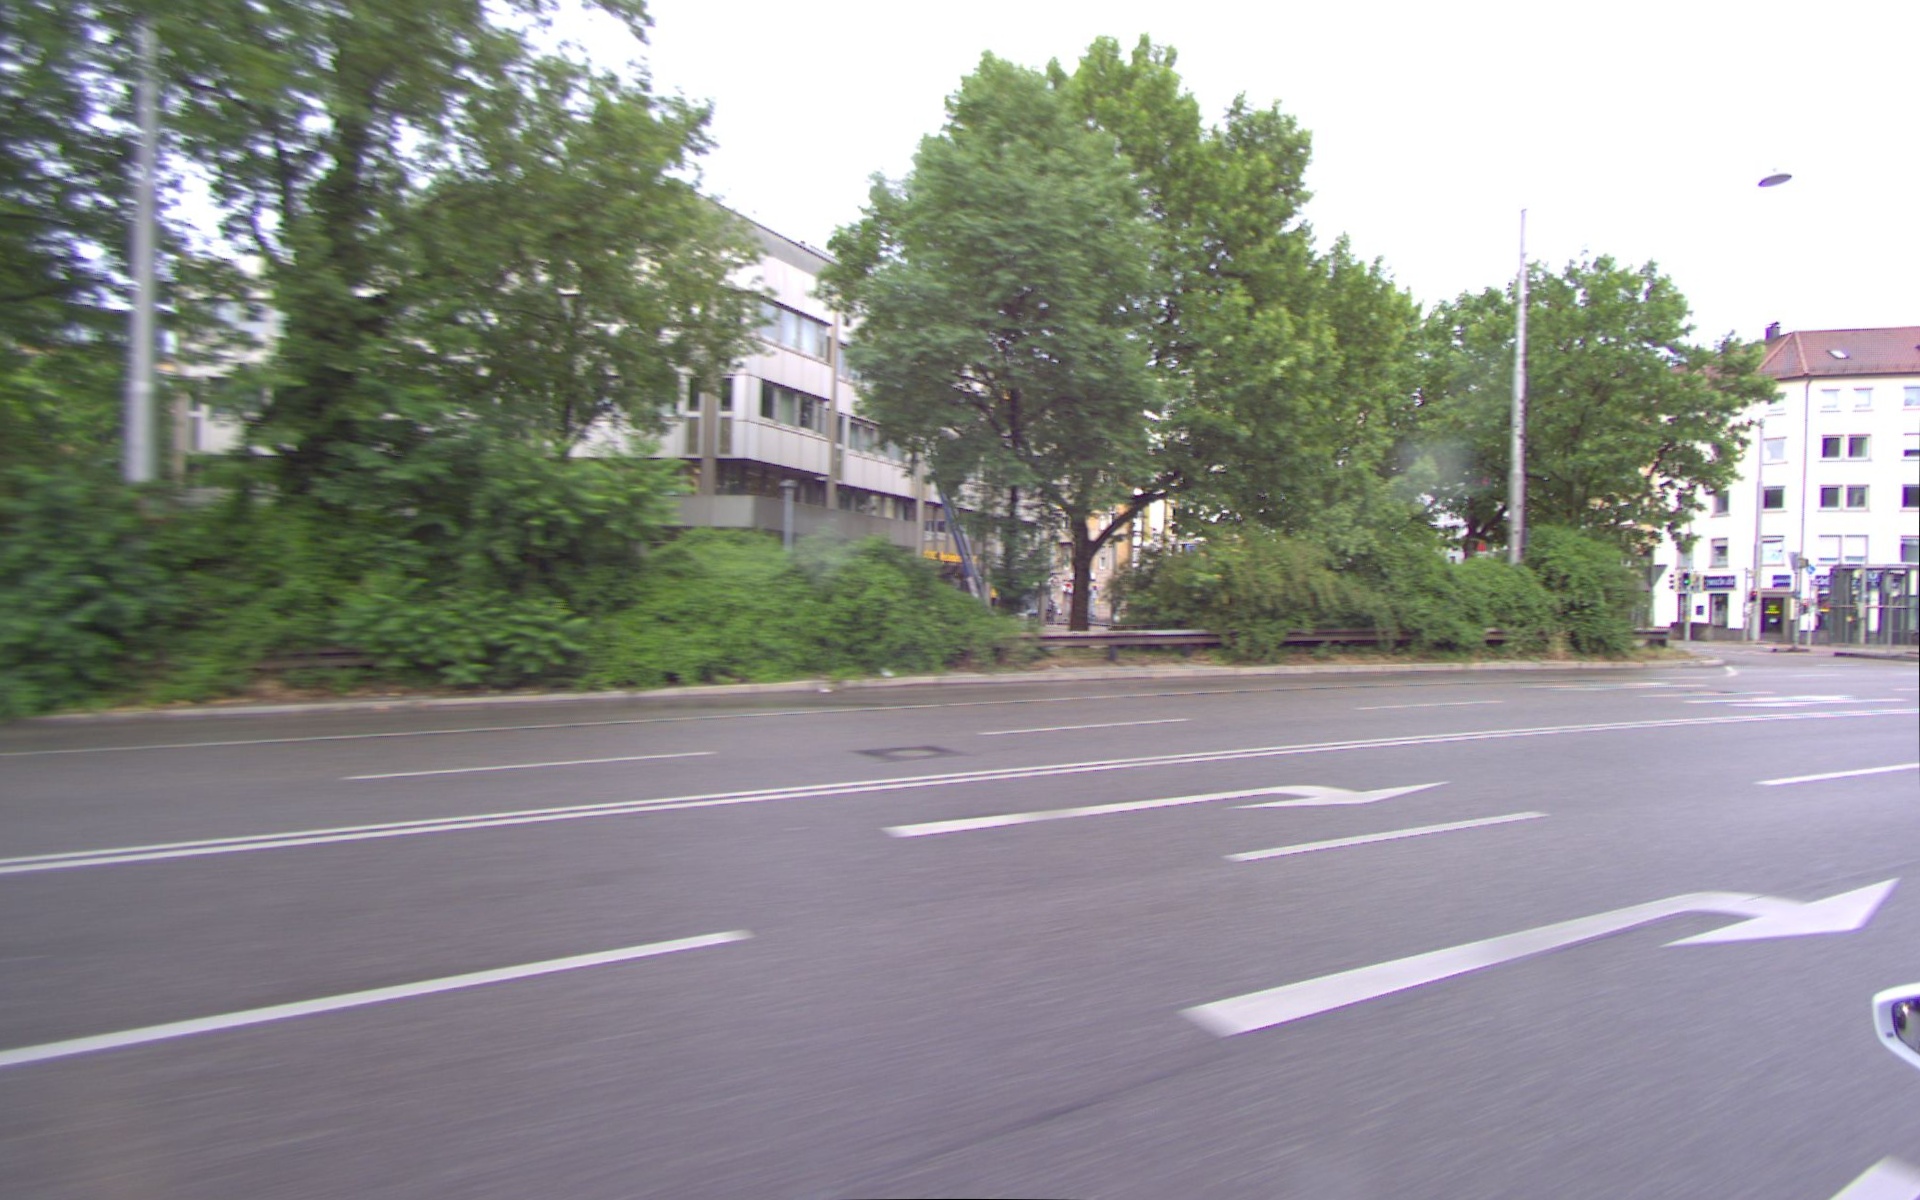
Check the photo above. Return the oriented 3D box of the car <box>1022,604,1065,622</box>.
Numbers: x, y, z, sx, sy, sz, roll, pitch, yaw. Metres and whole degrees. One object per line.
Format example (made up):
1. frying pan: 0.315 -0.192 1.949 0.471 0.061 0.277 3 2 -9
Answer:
1. car: 7.754 1.235 93.277 1.857 1.598 3.961 2 -1 -35
